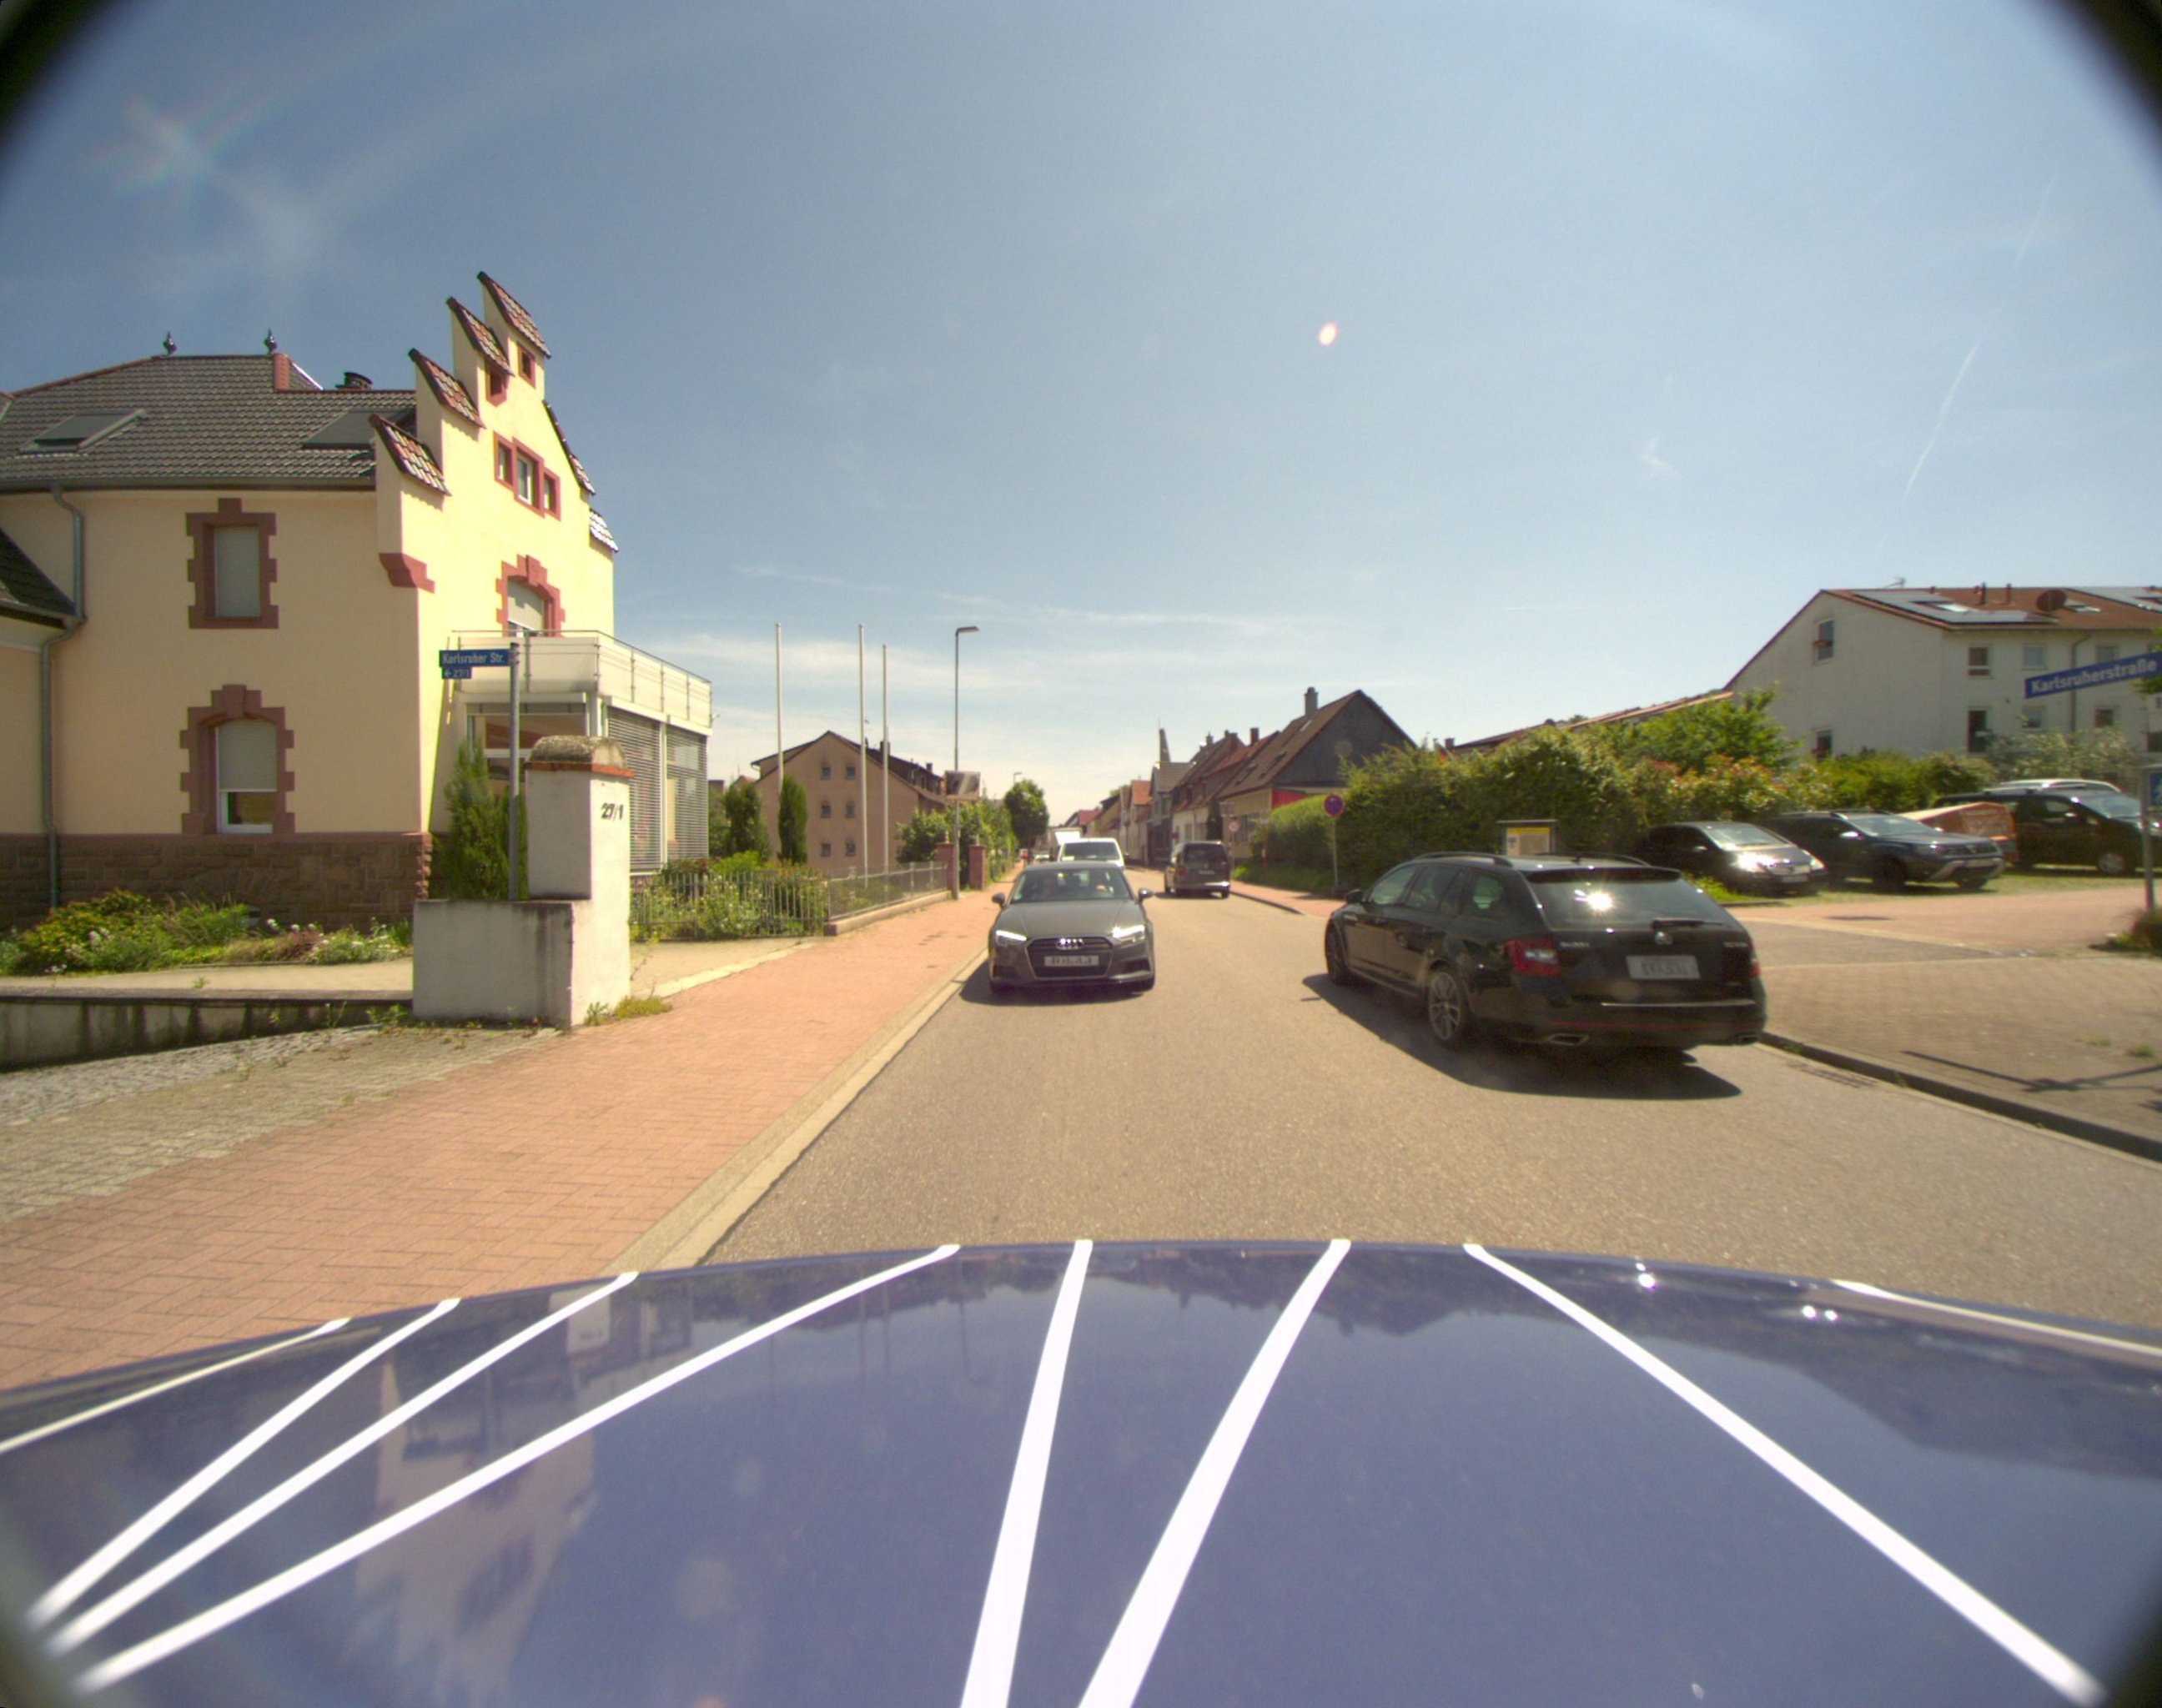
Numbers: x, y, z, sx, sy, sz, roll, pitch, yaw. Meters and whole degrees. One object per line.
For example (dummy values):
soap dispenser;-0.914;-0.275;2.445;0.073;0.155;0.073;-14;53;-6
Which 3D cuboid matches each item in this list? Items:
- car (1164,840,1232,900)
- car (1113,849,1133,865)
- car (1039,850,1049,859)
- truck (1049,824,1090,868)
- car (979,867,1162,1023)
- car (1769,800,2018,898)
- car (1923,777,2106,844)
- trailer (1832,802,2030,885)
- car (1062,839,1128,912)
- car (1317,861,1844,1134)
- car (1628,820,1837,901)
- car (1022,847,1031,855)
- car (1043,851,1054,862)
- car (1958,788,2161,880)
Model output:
car;3.873;0.489;25.828;1.660;1.844;4.464;1;1;1
car;3.839;0.278;69.938;1.710;1.362;3.868;2;1;1
car;-6.425;0.106;130.691;1.508;1.432;3.534;-3;1;-4
truck;-1.208;-0.692;68.005;2.899;3.517;12.947;-1;1;-4
car;-0.108;0.901;9.269;1.705;1.346;3.999;-2;1;0
car;17.065;-0.126;16.226;1.627;1.770;3.511;-3;1;4
car;26.943;-1.229;21.996;3.639;1.724;1.420;-3;2;-1
trailer;19.583;-0.240;17.653;1.430;1.654;2.691;-5;1;-4
car;0.313;0.540;21.134;1.637;1.833;3.569;-1;1;-1
car;3.515;0.845;6.489;1.723;1.438;4.254;1;1;1
car;14.312;0.104;16.988;1.627;1.532;3.652;-3;1;4
car;-11.078;-0.561;154.435;1.637;1.572;3.568;1;1;-4
car;-4.983;0.348;115.580;1.508;1.432;3.534;-3;1;-4
car;21.994;-0.460;16.614;1.627;1.771;3.551;-3;1;4
